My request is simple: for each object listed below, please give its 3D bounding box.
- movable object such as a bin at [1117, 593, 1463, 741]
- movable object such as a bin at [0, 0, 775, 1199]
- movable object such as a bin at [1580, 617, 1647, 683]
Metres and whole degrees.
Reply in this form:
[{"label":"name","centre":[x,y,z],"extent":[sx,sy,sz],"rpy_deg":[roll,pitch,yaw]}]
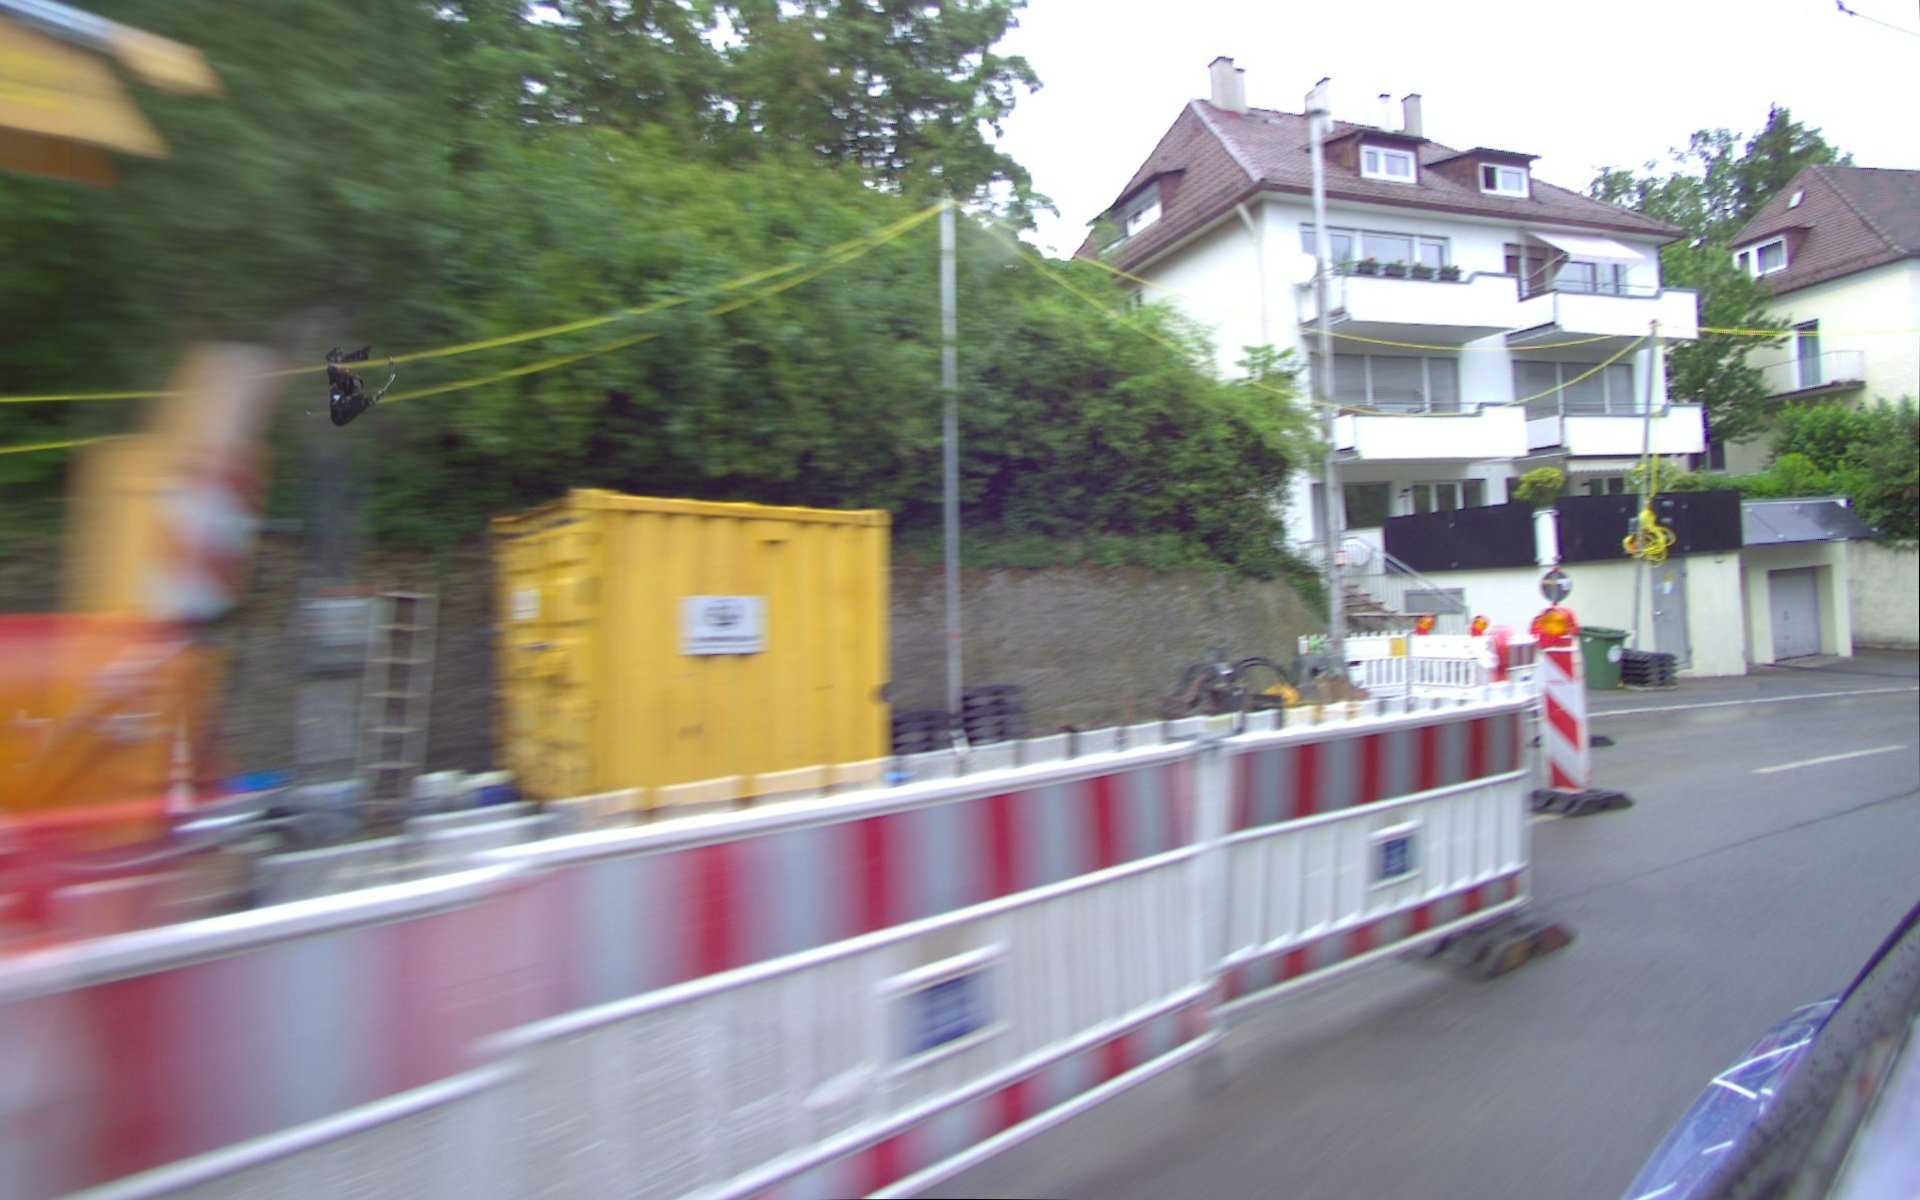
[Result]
[{"label":"movable object such as a bin","centre":[4.087,0.715,12.425],"extent":[3.922,1.539,2.000],"rpy_deg":[0,-2,-33]},{"label":"movable object such as a bin","centre":[-4.302,-0.268,2.165],"extent":[7.191,4.066,2.827],"rpy_deg":[0,-1,-37]},{"label":"movable object such as a bin","centre":[10.883,0.820,16.864],"extent":[0.579,1.045,0.723],"rpy_deg":[-1,0,-16]}]
